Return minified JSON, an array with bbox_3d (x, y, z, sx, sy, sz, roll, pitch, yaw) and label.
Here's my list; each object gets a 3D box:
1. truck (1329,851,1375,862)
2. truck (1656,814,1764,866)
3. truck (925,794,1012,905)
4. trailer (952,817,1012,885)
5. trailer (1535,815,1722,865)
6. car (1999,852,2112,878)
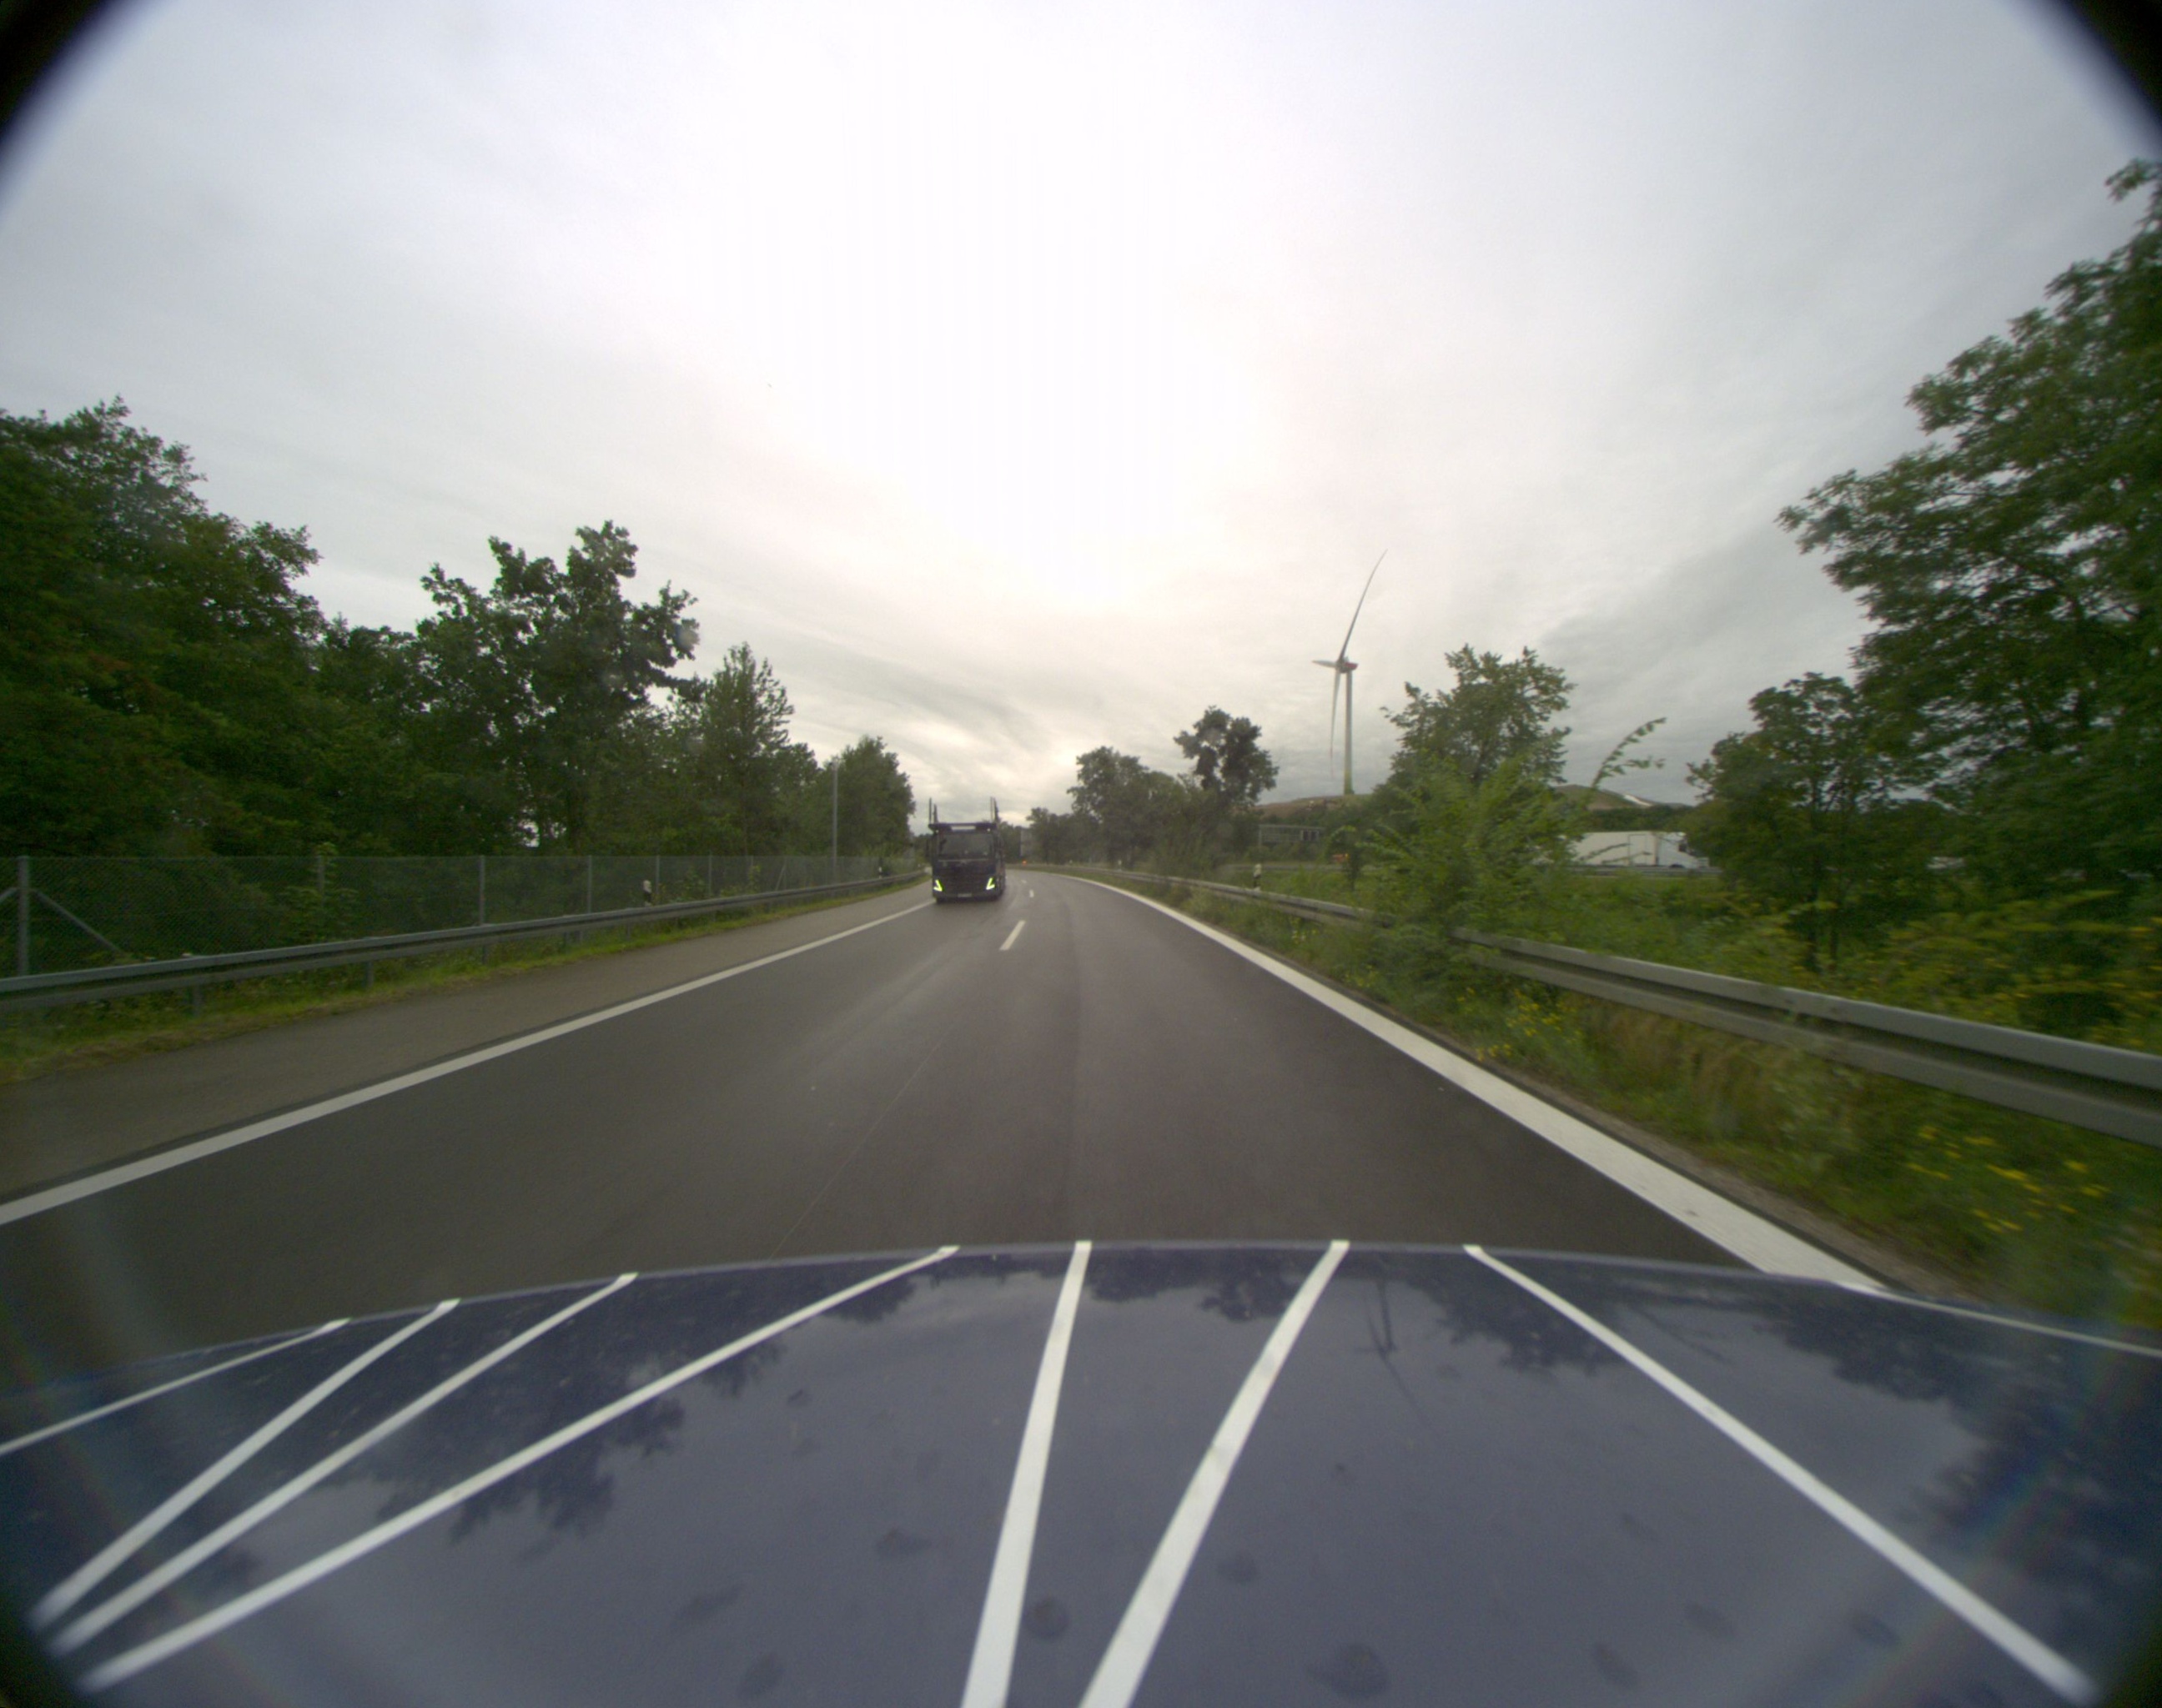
[{"bbox_3d":[48.582,0.410,136.392,2.003,2.002,8.793,-1,1,-28],"label":"truck"},{"bbox_3d":[52.521,-1.061,63.602,2.779,4.111,6.430,-1,0,-30],"label":"truck"},{"bbox_3d":[-4.519,-0.160,32.361,2.746,3.944,9.125,-3,0,-4],"label":"truck"},{"bbox_3d":[-5.283,-0.139,42.135,2.786,3.265,10.402,-1,0,-5],"label":"trailer"},{"bbox_3d":[49.234,-1.076,69.202,2.779,4.111,13.918,-1,0,-30],"label":"trailer"},{"bbox_3d":[64.997,0.712,50.766,1.908,1.641,4.474,0,0,-31],"label":"car"}]
